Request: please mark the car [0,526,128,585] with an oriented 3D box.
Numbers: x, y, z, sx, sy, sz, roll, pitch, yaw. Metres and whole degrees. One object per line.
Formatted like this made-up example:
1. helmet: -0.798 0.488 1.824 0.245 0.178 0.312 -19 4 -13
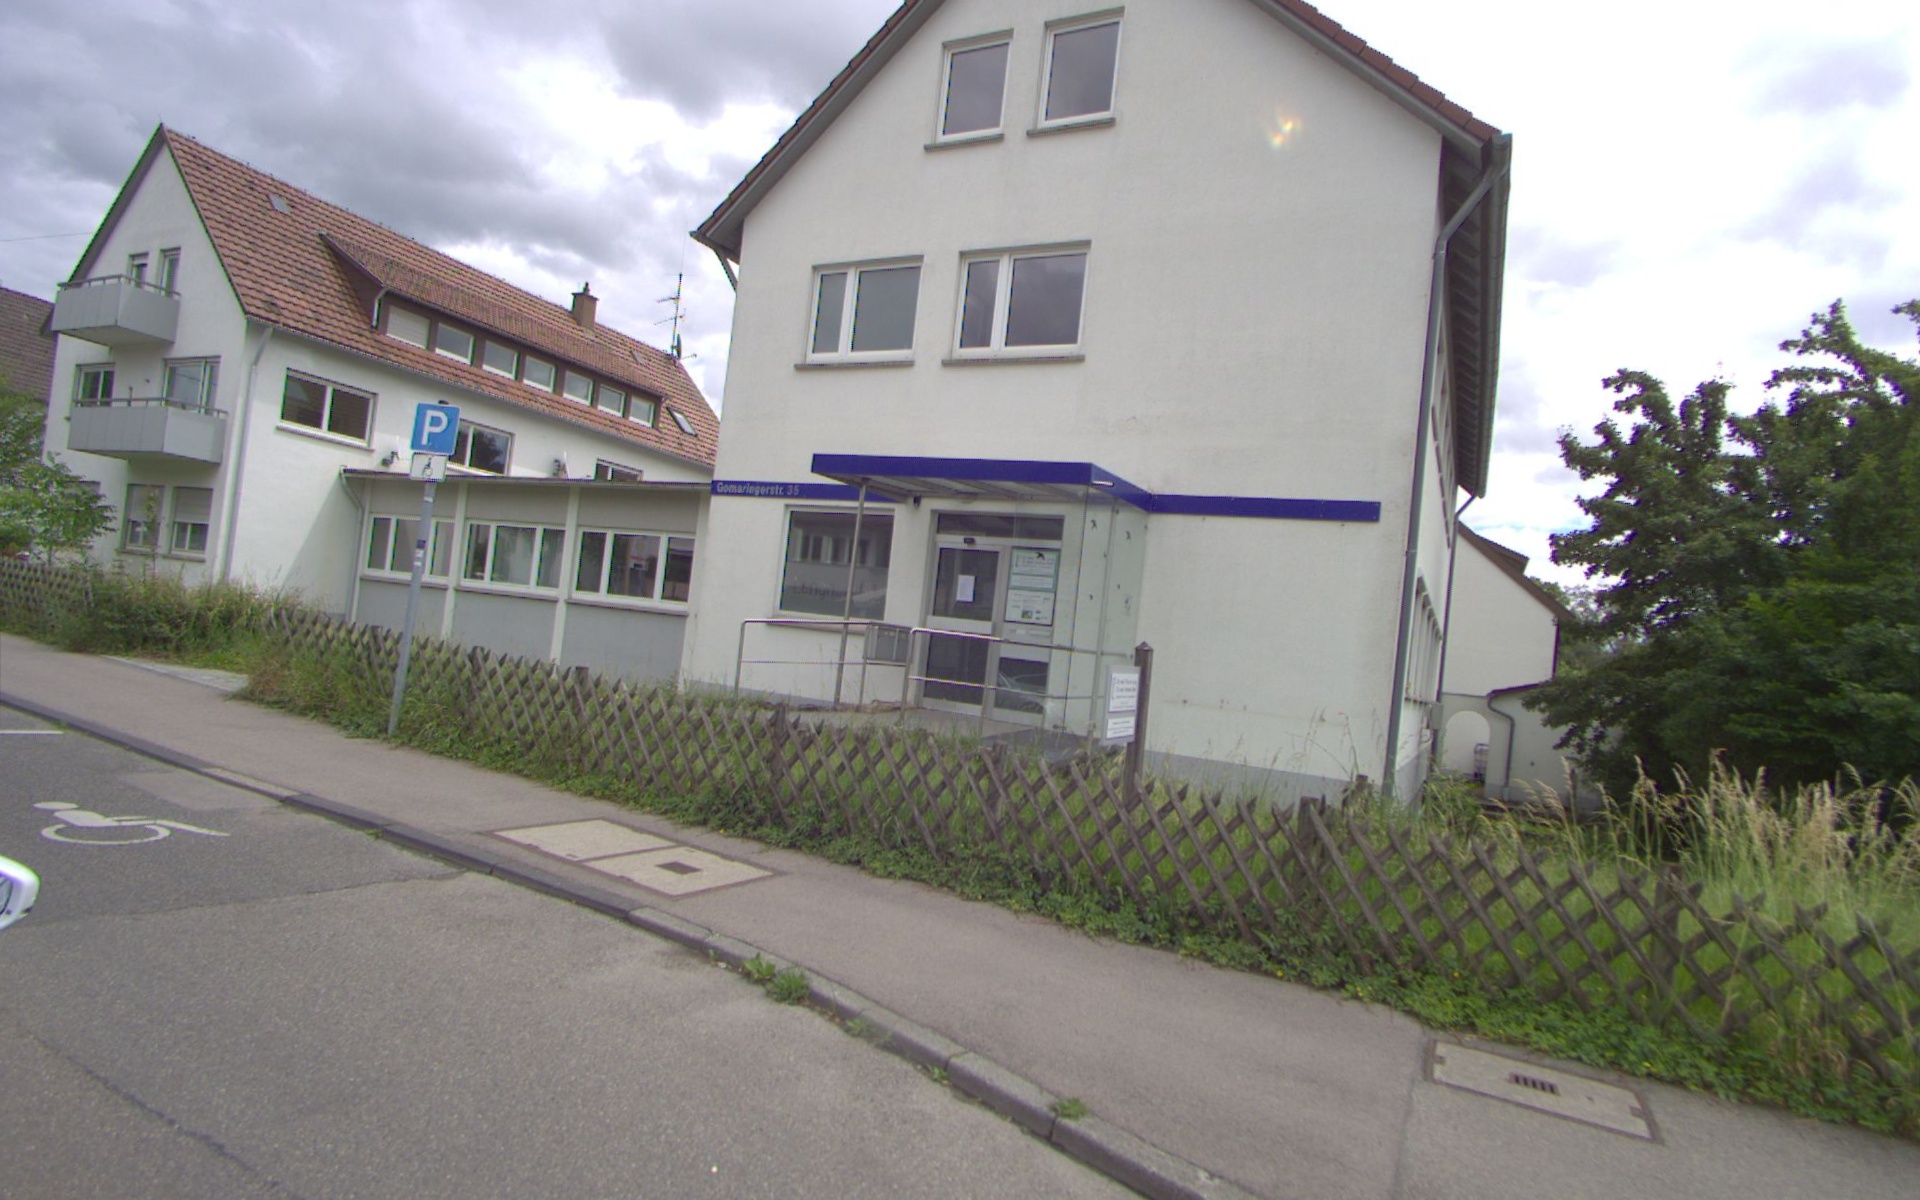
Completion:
1. car: -34.279 -1.660 38.223 1.655 1.580 3.718 6 -5 14
